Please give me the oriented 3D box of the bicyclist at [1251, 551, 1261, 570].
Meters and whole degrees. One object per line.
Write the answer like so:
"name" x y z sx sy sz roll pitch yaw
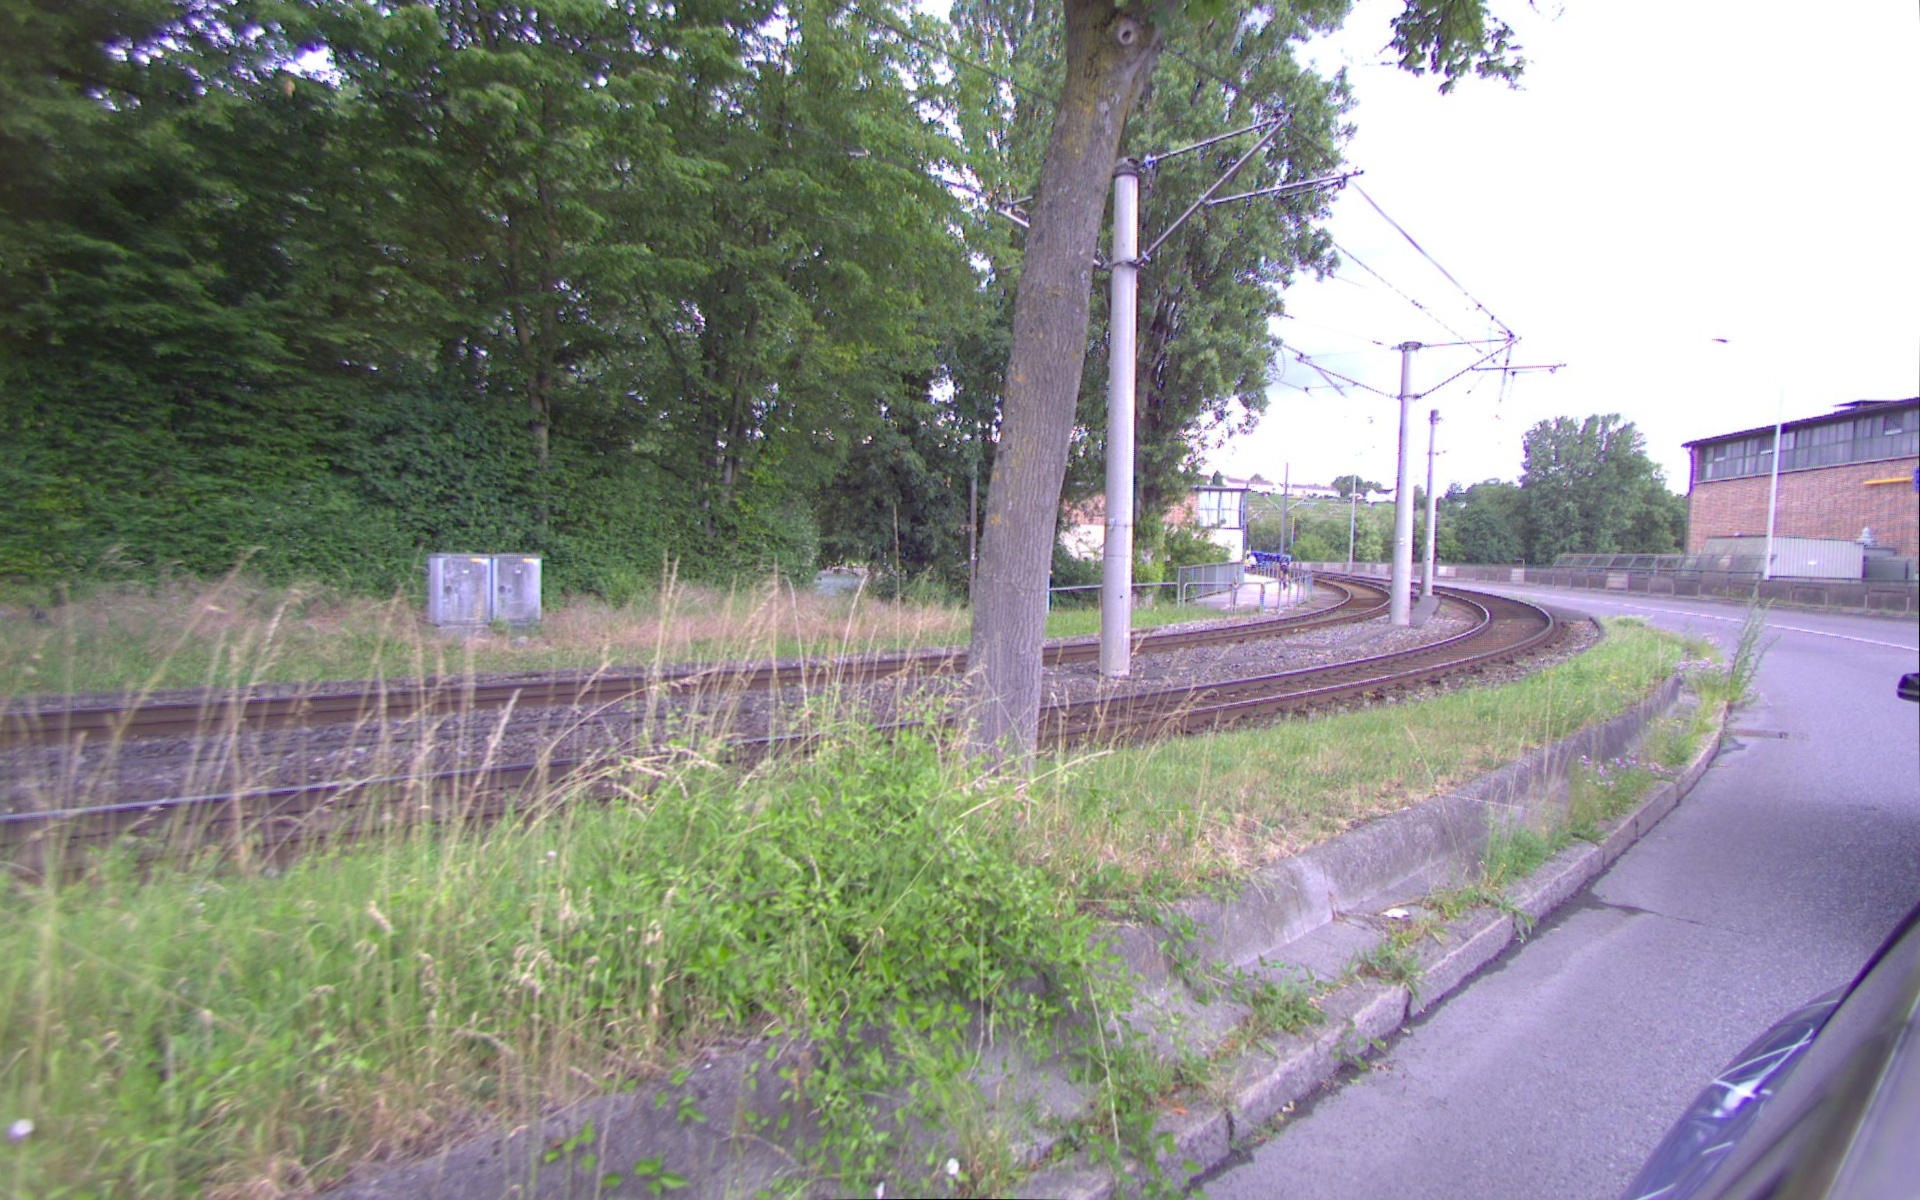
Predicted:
"bicyclist" 21.584 -2.852 73.816 0.585 1.377 0.909 0 1 7

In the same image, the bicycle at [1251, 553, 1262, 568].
"bicycle" 21.639 -2.862 73.855 0.420 1.063 2.077 0 2 6

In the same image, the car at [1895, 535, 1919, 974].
"car" 5.621 0.566 4.462 3.933 1.641 1.859 -2 4 -43

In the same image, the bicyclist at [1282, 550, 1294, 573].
"bicyclist" 15.265 -1.792 47.115 0.413 1.097 0.470 2 2 29

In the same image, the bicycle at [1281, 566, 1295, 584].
"bicycle" 15.270 -1.183 47.137 0.345 0.804 1.532 2 2 28
